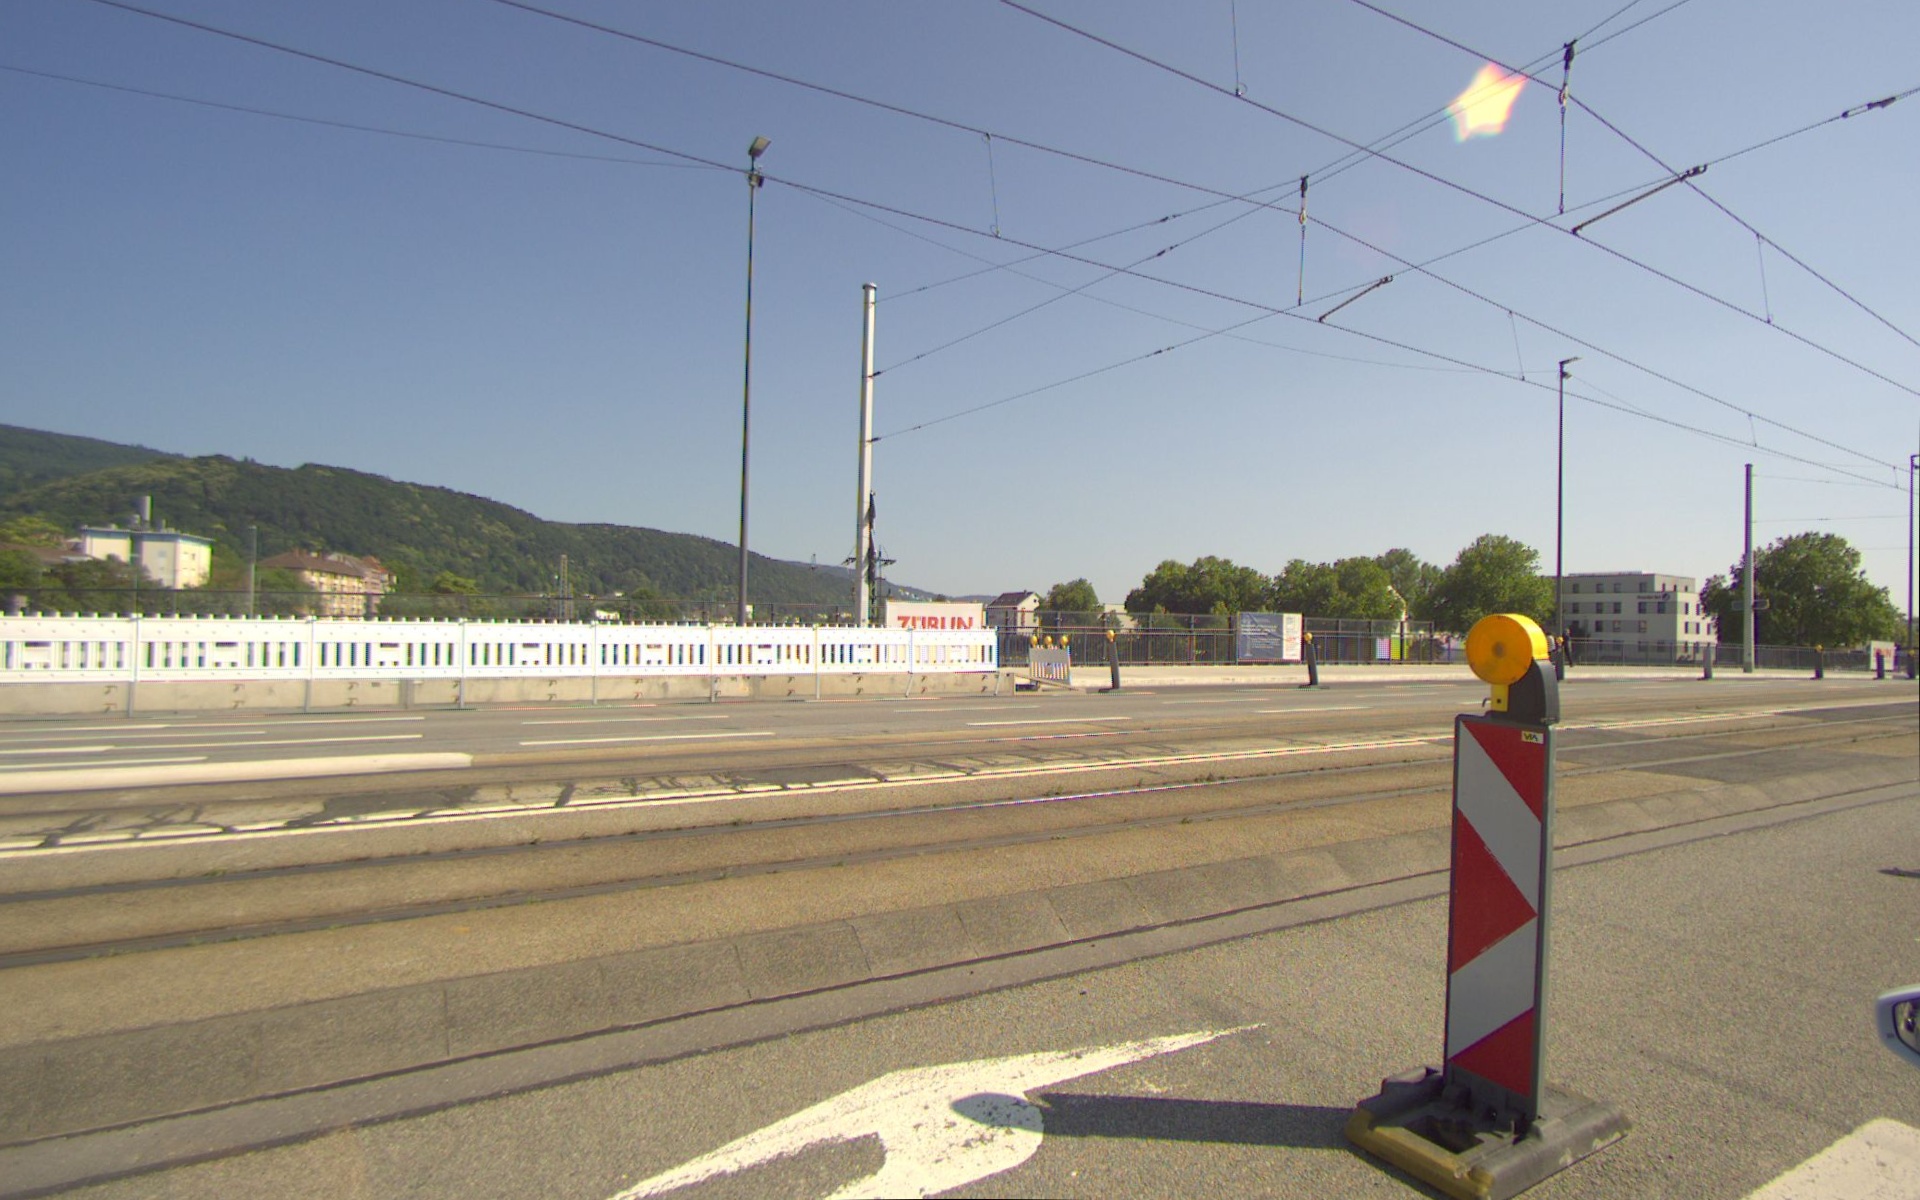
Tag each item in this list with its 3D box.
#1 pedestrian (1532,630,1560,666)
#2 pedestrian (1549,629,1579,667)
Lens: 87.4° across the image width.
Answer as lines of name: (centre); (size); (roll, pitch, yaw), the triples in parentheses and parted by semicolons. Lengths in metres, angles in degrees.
pedestrian: (26.823, 2.189, 45.973); (0.878, 1.565, 0.716); (2, 1, -30)
pedestrian: (27.211, 2.165, 45.265); (0.884, 1.663, 0.740); (2, 1, -30)
